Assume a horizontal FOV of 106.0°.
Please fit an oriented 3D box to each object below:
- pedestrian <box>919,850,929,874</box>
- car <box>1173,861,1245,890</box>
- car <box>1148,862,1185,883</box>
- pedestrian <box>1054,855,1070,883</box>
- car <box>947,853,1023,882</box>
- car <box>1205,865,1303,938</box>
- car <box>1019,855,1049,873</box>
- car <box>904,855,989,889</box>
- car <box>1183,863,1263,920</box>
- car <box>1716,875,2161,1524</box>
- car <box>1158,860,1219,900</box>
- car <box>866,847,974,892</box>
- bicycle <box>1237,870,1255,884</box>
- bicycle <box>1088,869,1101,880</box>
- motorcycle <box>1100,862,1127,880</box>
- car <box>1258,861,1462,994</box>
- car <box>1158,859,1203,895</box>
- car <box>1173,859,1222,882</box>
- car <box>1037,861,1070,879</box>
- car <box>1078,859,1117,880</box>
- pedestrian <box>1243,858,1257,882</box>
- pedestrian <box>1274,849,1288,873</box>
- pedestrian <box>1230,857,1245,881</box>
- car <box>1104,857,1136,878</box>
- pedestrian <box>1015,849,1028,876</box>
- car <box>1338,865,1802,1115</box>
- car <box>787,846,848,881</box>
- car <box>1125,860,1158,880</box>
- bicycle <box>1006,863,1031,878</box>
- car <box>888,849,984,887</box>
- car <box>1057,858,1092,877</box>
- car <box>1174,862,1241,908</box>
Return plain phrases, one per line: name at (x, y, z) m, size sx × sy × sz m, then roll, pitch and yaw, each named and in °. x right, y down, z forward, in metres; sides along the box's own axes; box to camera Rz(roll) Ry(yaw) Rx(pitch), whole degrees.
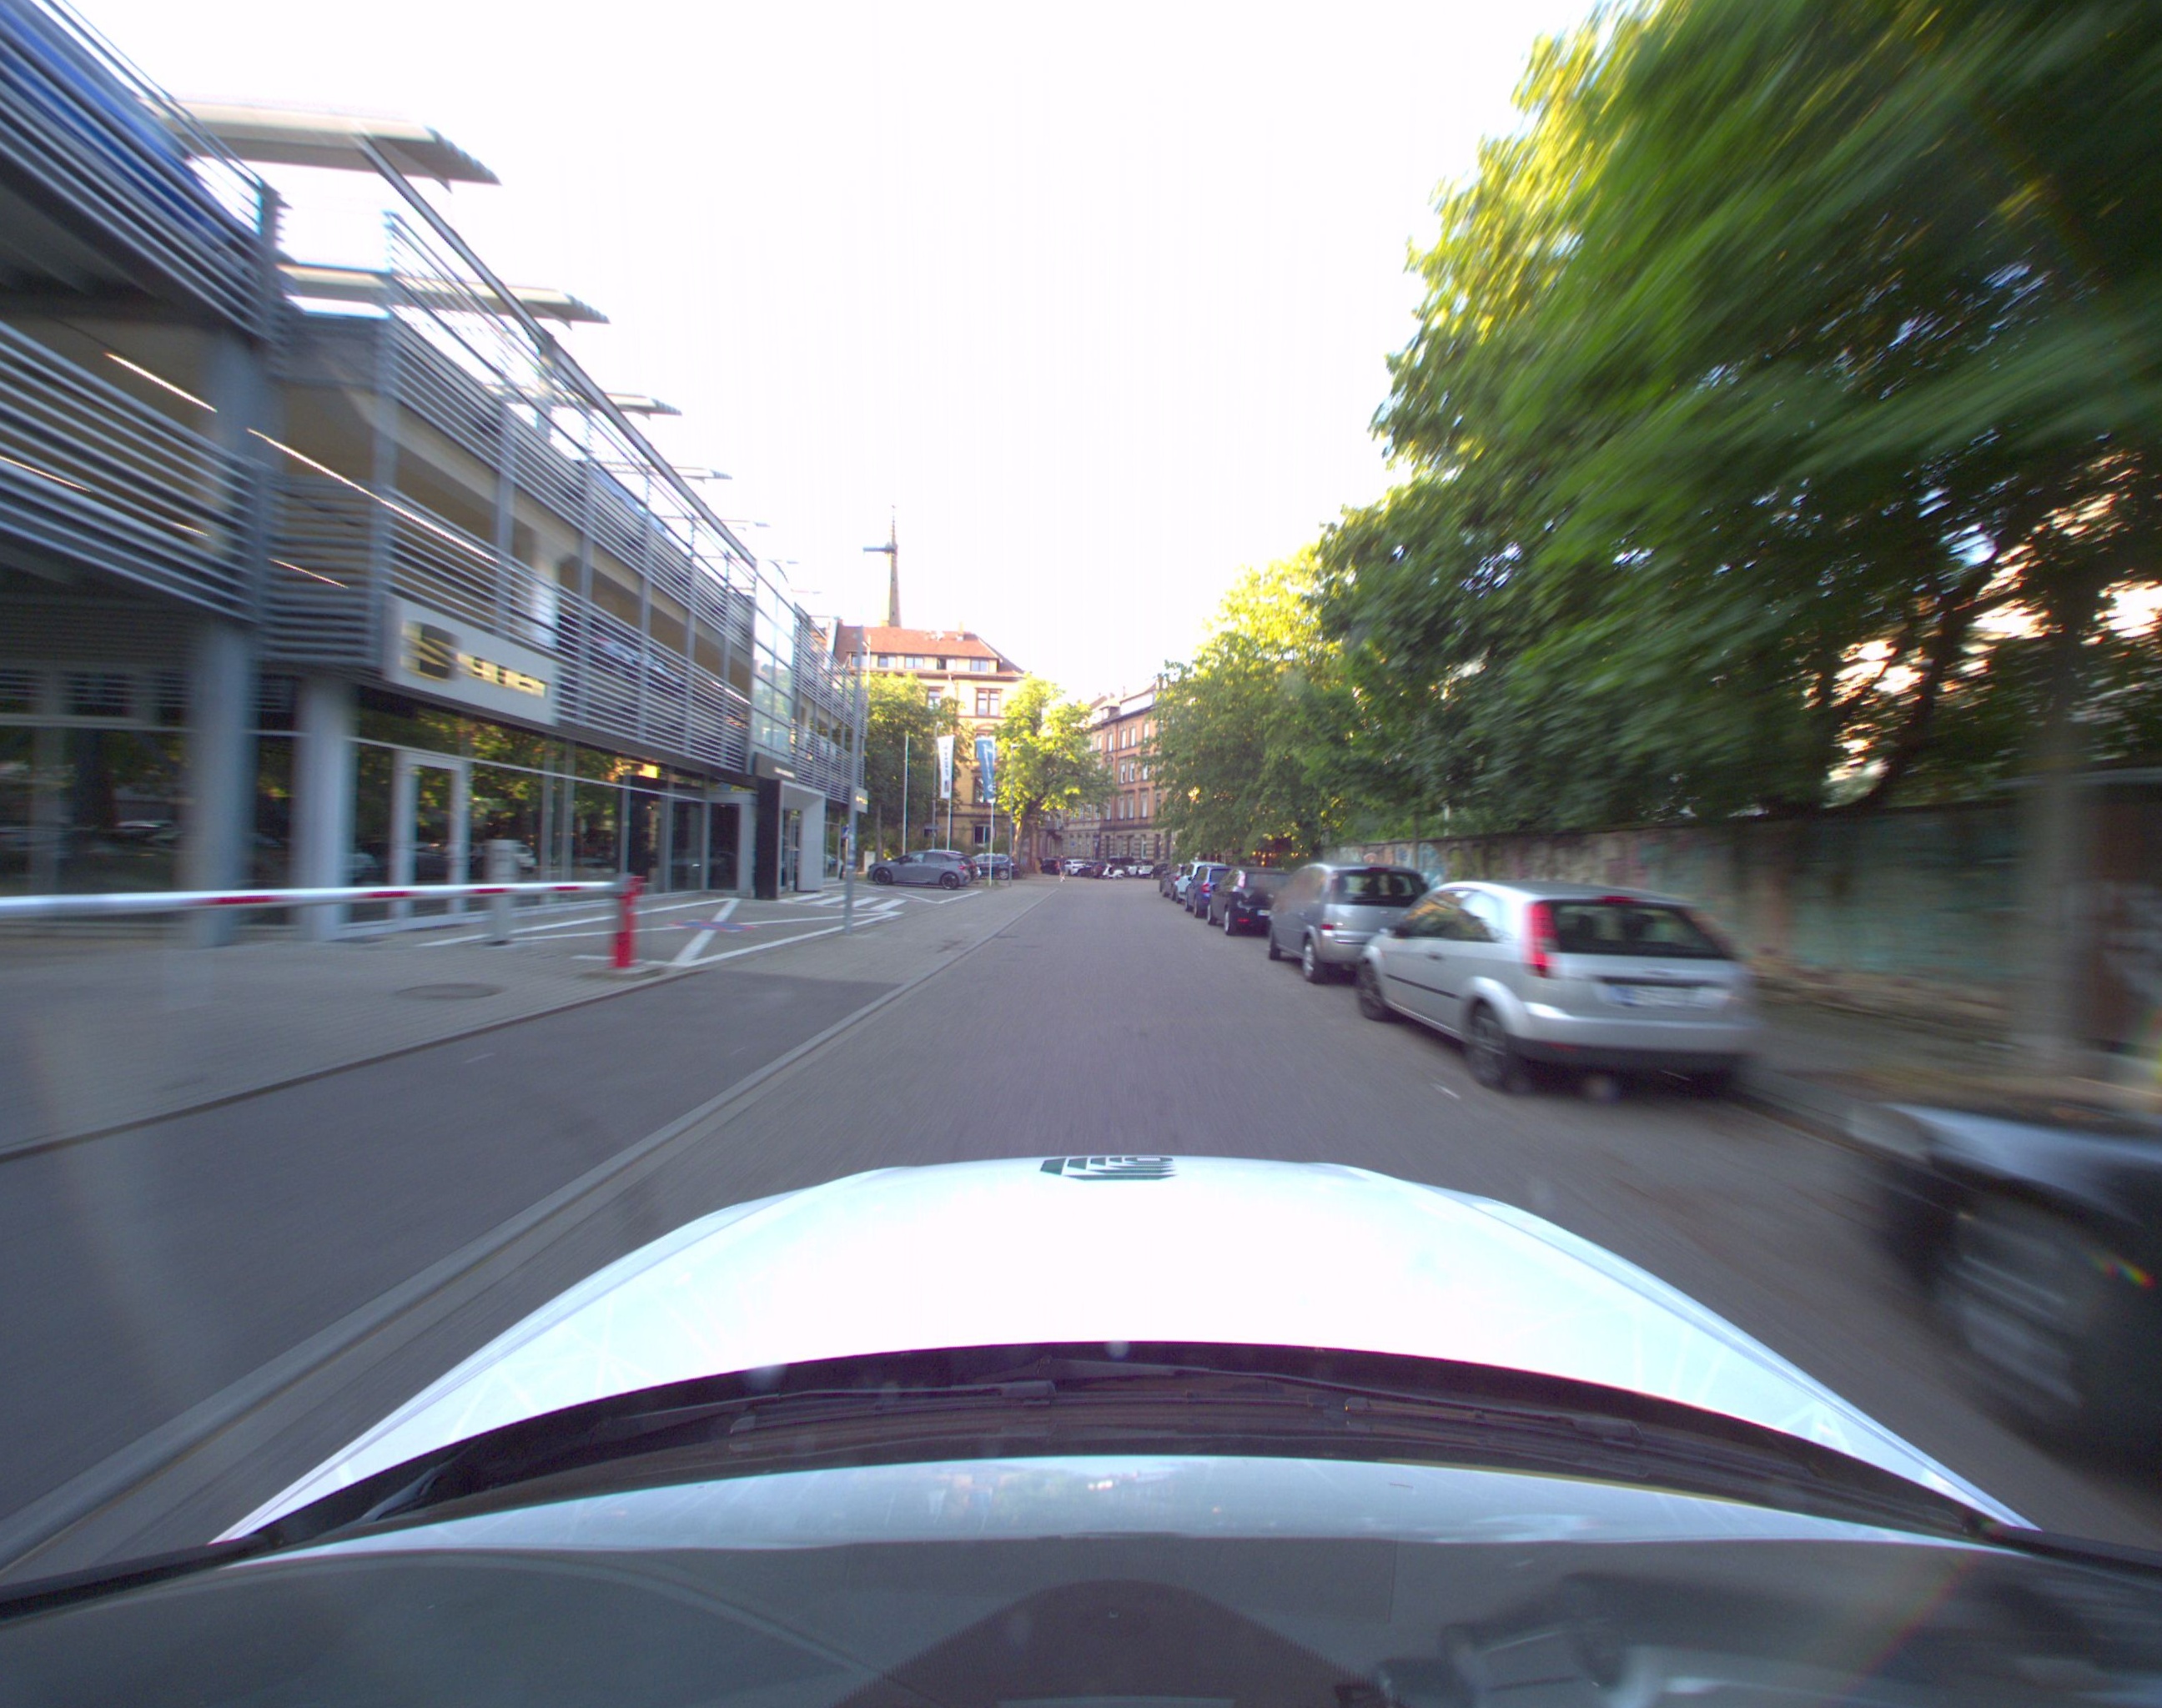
pedestrian at (-10.778, 0.533, 55.929) m, size 0.541 × 1.635 × 0.447 m, roll 1°, pitch 0°, yaw -3°
car at (7.063, 1.181, 44.761) m, size 1.858 × 1.466 × 3.994 m, roll 2°, pitch 0°, yaw 45°
car at (6.920, 1.476, 66.072) m, size 1.681 × 1.525 × 3.219 m, roll 1°, pitch 0°, yaw -22°
pedestrian at (-1.236, 0.968, 53.170) m, size 0.737 × 1.804 × 1.115 m, roll 1°, pitch 0°, yaw -19°
car at (-6.223, 0.874, 53.448) m, size 4.820 × 1.732 × 1.917 m, roll 2°, pitch 0°, yaw -5°
car at (3.924, 1.019, 19.014) m, size 1.591 × 1.477 × 3.775 m, roll 1°, pitch -1°, yaw 2°
car at (-4.597, 0.964, 78.982) m, size 1.661 × 1.524 × 3.867 m, roll 2°, pitch 1°, yaw -22°
car at (-6.892, 0.932, 41.986) m, size 4.035 × 1.475 × 1.919 m, roll 3°, pitch 0°, yaw -3°
car at (4.018, 1.007, 23.656) m, size 1.689 × 1.477 × 4.118 m, roll 1°, pitch -1°, yaw 2°
car at (3.362, 0.845, 1.049) m, size 1.753 × 1.454 × 4.394 m, roll 1°, pitch 0°, yaw 2°
car at (4.290, 1.022, 32.971) m, size 1.691 × 1.477 × 4.208 m, roll 1°, pitch -1°, yaw -3°
car at (-6.765, 0.621, 34.541) m, size 4.116 × 1.618 × 1.913 m, roll 3°, pitch 0°, yaw -1°
bicycle at (12.217, 1.698, 60.248) m, size 0.321 × 0.914 × 1.349 m, roll 1°, pitch 0°, yaw -40°
bicycle at (1.006, 1.489, 59.241) m, size 0.421 × 0.822 × 1.470 m, roll 1°, pitch 0°, yaw 24°
motorcycle at (2.429, 1.294, 61.328) m, size 1.931 × 1.340 × 0.575 m, roll 1°, pitch 0°, yaw -9°
car at (3.866, 0.923, 11.988) m, size 1.753 × 1.604 × 3.875 m, roll 1°, pitch -1°, yaw 2°
car at (4.582, 1.035, 38.002) m, size 1.689 × 1.571 × 3.972 m, roll 1°, pitch -1°, yaw 1°
car at (8.743, 1.242, 61.499) m, size 1.922 × 1.525 × 3.867 m, roll 2°, pitch 1°, yaw -22°
car at (-2.519, 1.468, 73.616) m, size 1.661 × 1.431 × 3.867 m, roll 2°, pitch 1°, yaw -22°
car at (1.296, 1.228, 64.615) m, size 1.661 × 1.431 × 3.961 m, roll 2°, pitch 1°, yaw -22°
pedestrian at (12.859, 1.196, 61.932) m, size 0.774 × 1.804 × 0.839 m, roll 1°, pitch 0°, yaw -13°
pedestrian at (15.441, 0.550, 62.880) m, size 0.774 × 1.804 × 0.839 m, roll -1°, pitch 1°, yaw -13°
pedestrian at (12.241, 1.170, 63.673) m, size 0.843 × 1.804 × 0.771 m, roll 1°, pitch 0°, yaw -19°
car at (3.464, 1.189, 73.145) m, size 1.681 × 1.782 × 2.992 m, roll 2°, pitch 0°, yaw -22°
pedestrian at (-4.136, 0.574, 56.919) m, size 0.813 × 1.852 × 0.802 m, roll 1°, pitch 0°, yaw -3°
car at (3.654, 0.874, 7.013) m, size 1.753 × 1.441 × 3.875 m, roll 1°, pitch 0°, yaw 2°
car at (-12.519, 0.457, 38.974) m, size 1.698 × 1.550 × 4.218 m, roll 2°, pitch -1°, yaw -3°
car at (5.150, 1.348, 69.511) m, size 1.681 × 1.526 × 2.746 m, roll 2°, pitch 0°, yaw -22°
bicycle at (-4.313, 1.134, 56.036) m, size 1.678 × 1.028 × 0.442 m, roll 1°, pitch 0°, yaw -23°
car at (-6.591, 0.629, 37.422) m, size 4.054 × 1.618 × 1.765 m, roll 1°, pitch 0°, yaw -1°
car at (-0.600, 1.128, 69.193) m, size 1.660 × 1.431 × 4.139 m, roll 2°, pitch 1°, yaw -20°
car at (4.351, 1.043, 28.560) m, size 1.690 × 1.477 × 3.557 m, roll 1°, pitch -1°, yaw -2°
